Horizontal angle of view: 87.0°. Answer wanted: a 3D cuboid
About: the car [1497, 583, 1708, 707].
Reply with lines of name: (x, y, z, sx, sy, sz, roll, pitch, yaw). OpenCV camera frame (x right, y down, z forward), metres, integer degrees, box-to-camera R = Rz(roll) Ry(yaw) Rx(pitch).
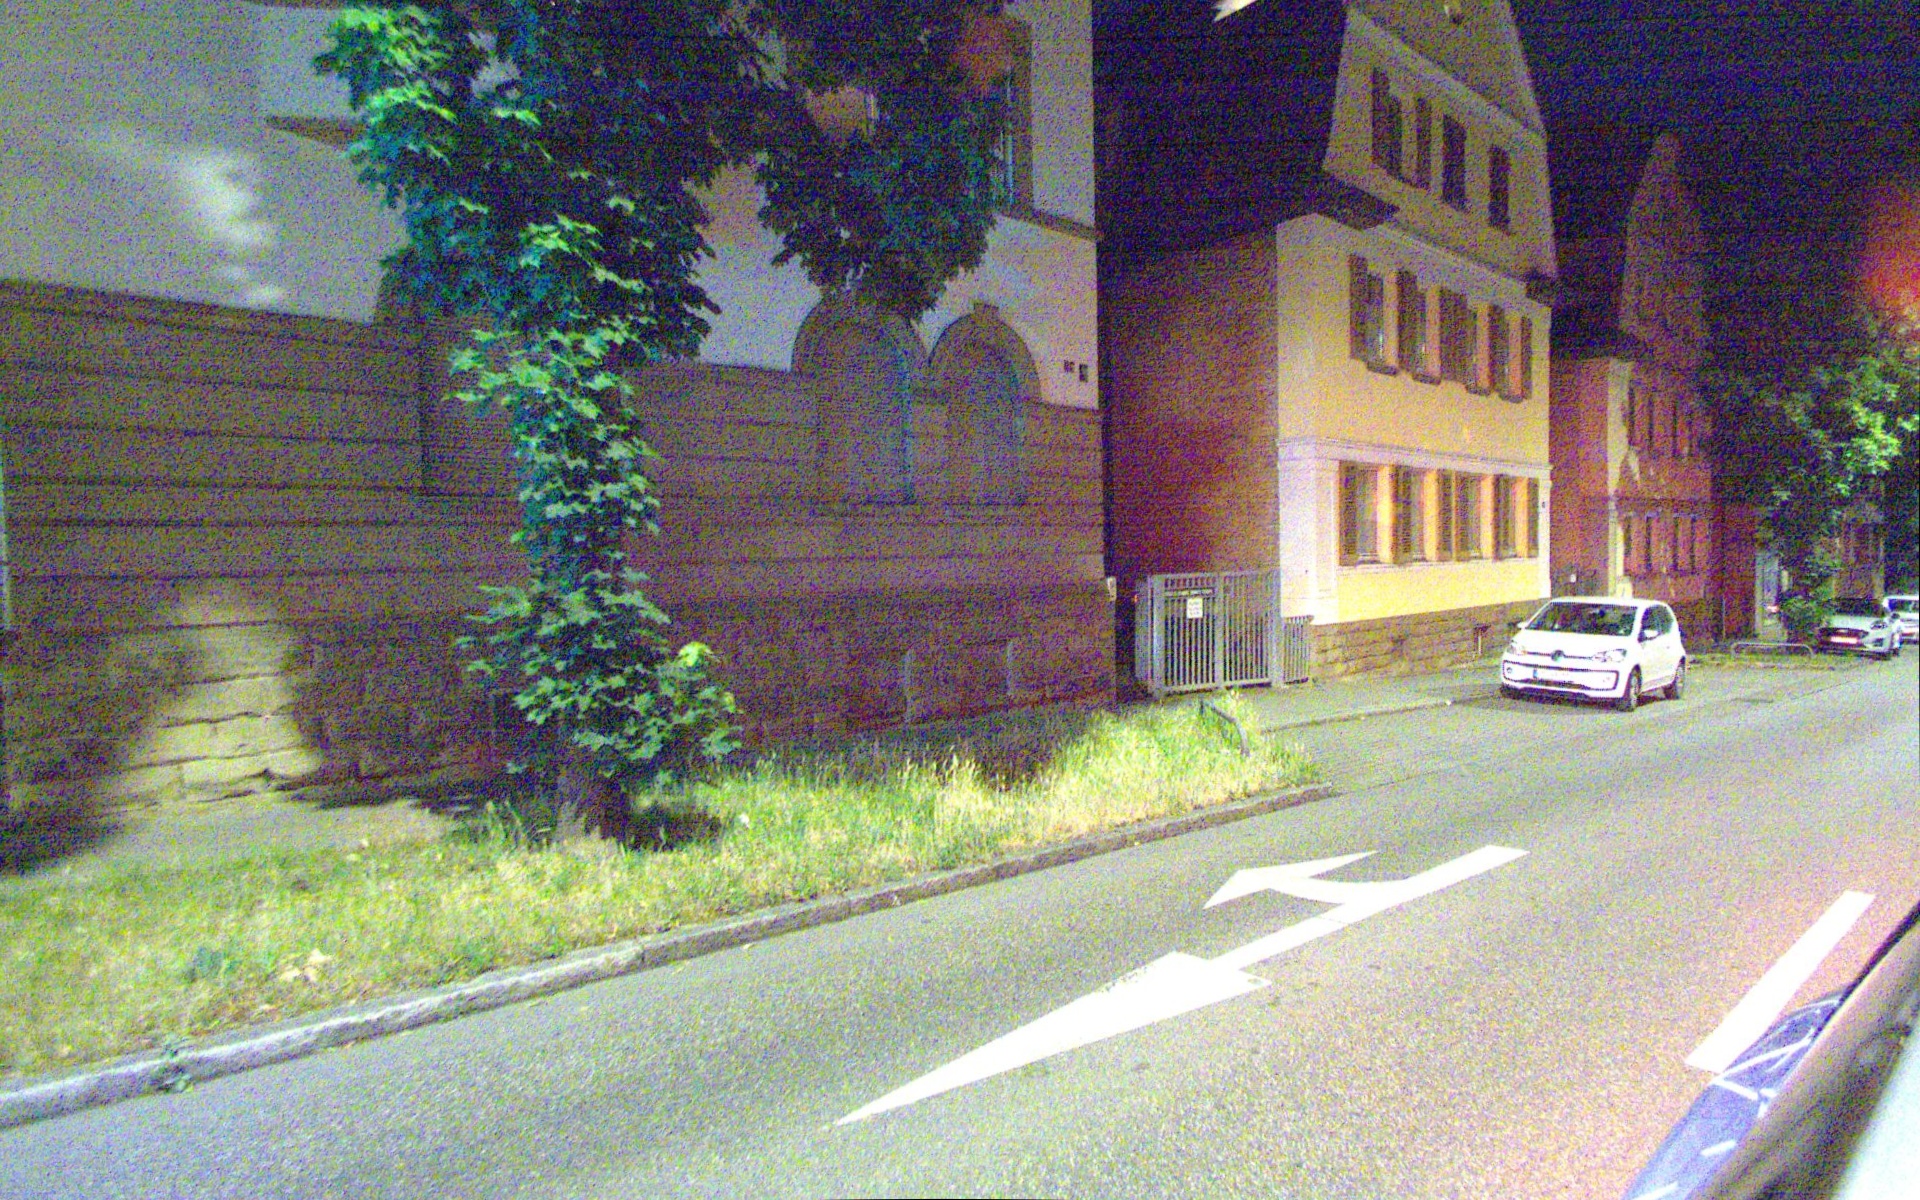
car: (9.260, 0.557, 14.503, 3.425, 1.527, 1.610, 0, 2, -41)

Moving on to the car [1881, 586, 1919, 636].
car: (33.538, 0.370, 35.149, 4.107, 1.673, 1.850, 0, 0, -42)

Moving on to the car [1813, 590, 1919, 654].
car: (23.616, 0.510, 26.290, 3.824, 1.516, 1.740, 0, 2, -43)
